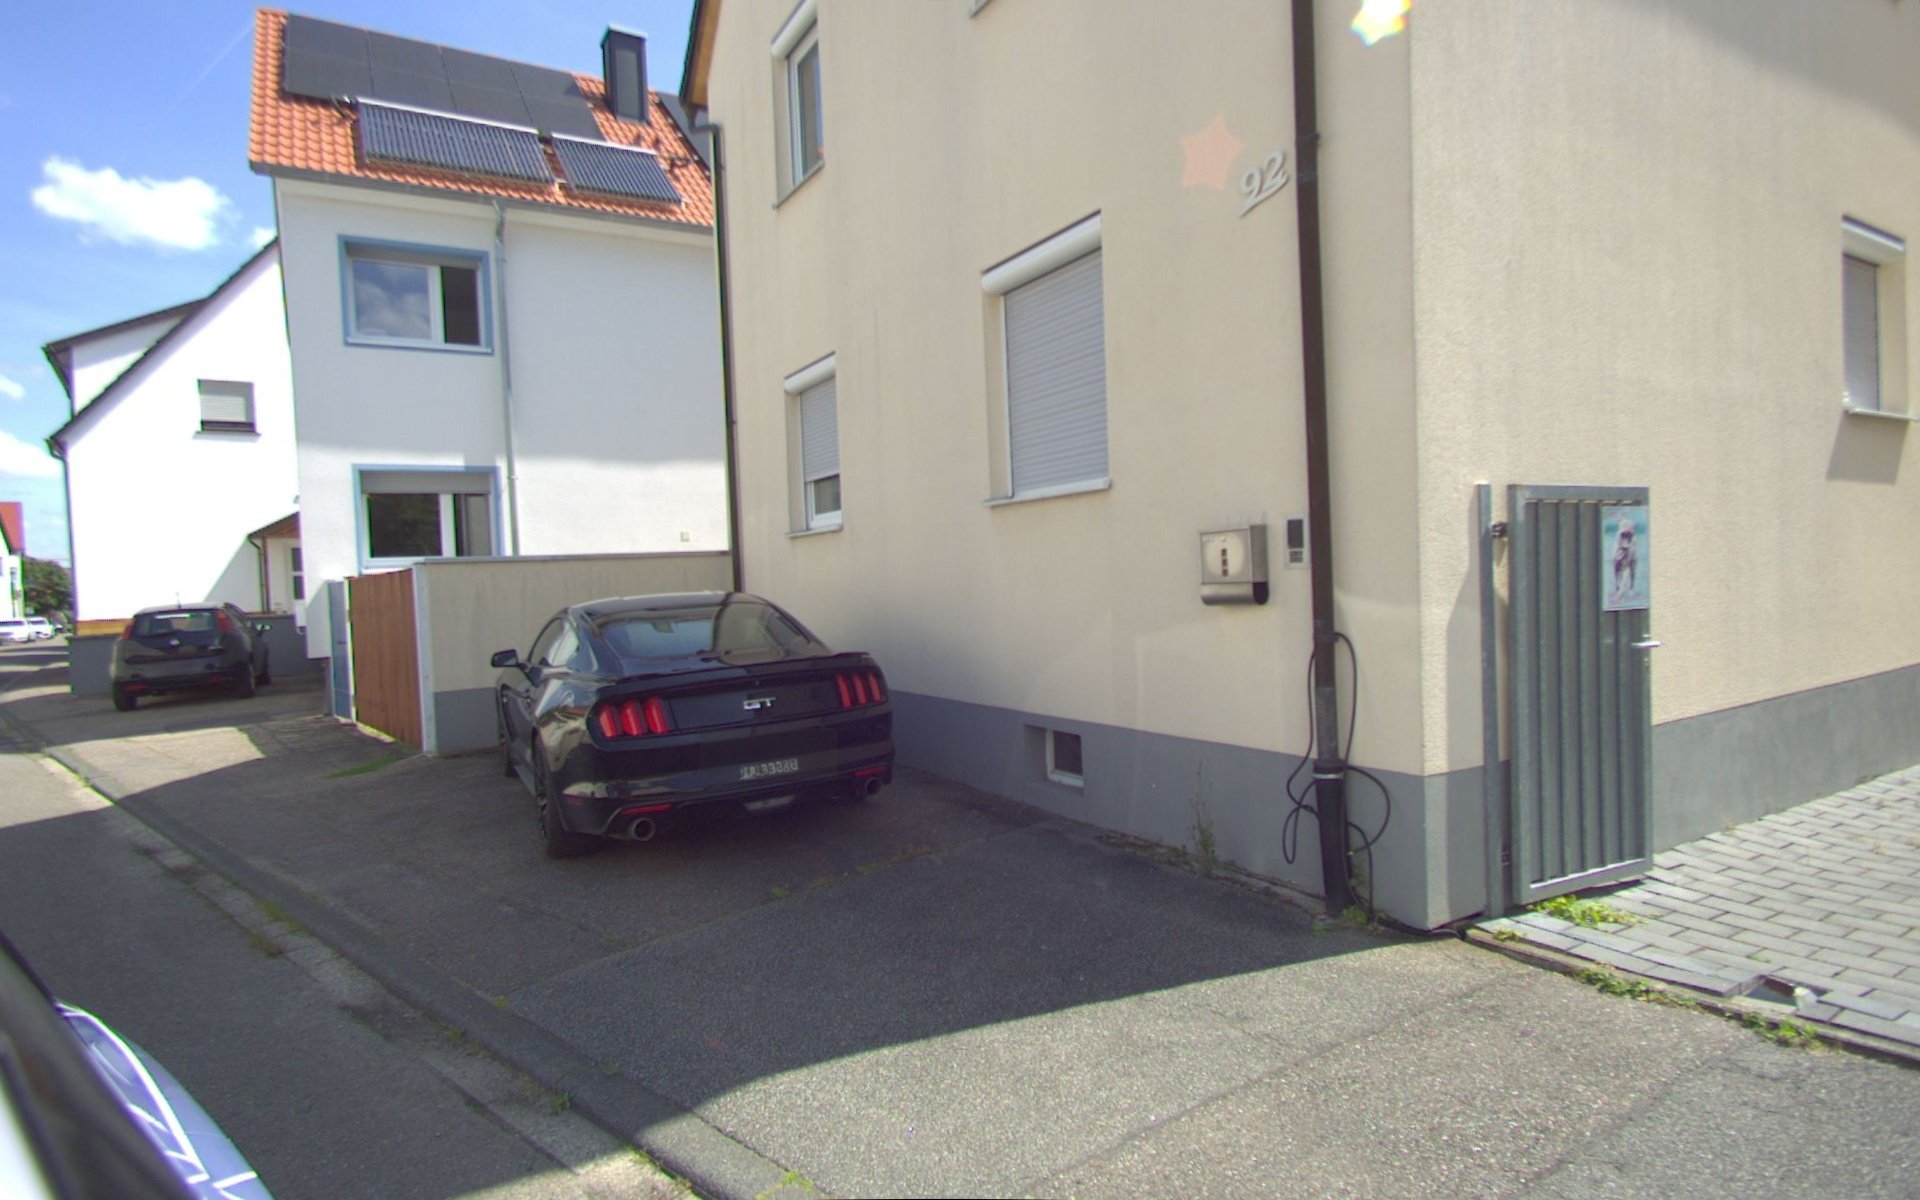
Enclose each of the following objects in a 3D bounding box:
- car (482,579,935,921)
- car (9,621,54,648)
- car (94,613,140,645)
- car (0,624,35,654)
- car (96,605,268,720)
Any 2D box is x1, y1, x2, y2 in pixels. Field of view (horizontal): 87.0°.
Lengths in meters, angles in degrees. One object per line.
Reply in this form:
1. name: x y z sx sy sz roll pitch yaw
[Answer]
1. car: -2.012 0.619 6.728 1.745 1.359 4.484 -5 3 -29
2. car: -62.174 2.262 67.822 1.758 1.511 4.048 -7 4 -37
3. car: -50.155 1.690 60.253 1.758 1.621 4.009 -7 4 -37
4. car: -54.430 2.230 57.908 1.758 1.511 4.048 -7 4 -37
5. car: -12.159 0.884 16.039 1.615 1.465 3.798 -5 2 -31
